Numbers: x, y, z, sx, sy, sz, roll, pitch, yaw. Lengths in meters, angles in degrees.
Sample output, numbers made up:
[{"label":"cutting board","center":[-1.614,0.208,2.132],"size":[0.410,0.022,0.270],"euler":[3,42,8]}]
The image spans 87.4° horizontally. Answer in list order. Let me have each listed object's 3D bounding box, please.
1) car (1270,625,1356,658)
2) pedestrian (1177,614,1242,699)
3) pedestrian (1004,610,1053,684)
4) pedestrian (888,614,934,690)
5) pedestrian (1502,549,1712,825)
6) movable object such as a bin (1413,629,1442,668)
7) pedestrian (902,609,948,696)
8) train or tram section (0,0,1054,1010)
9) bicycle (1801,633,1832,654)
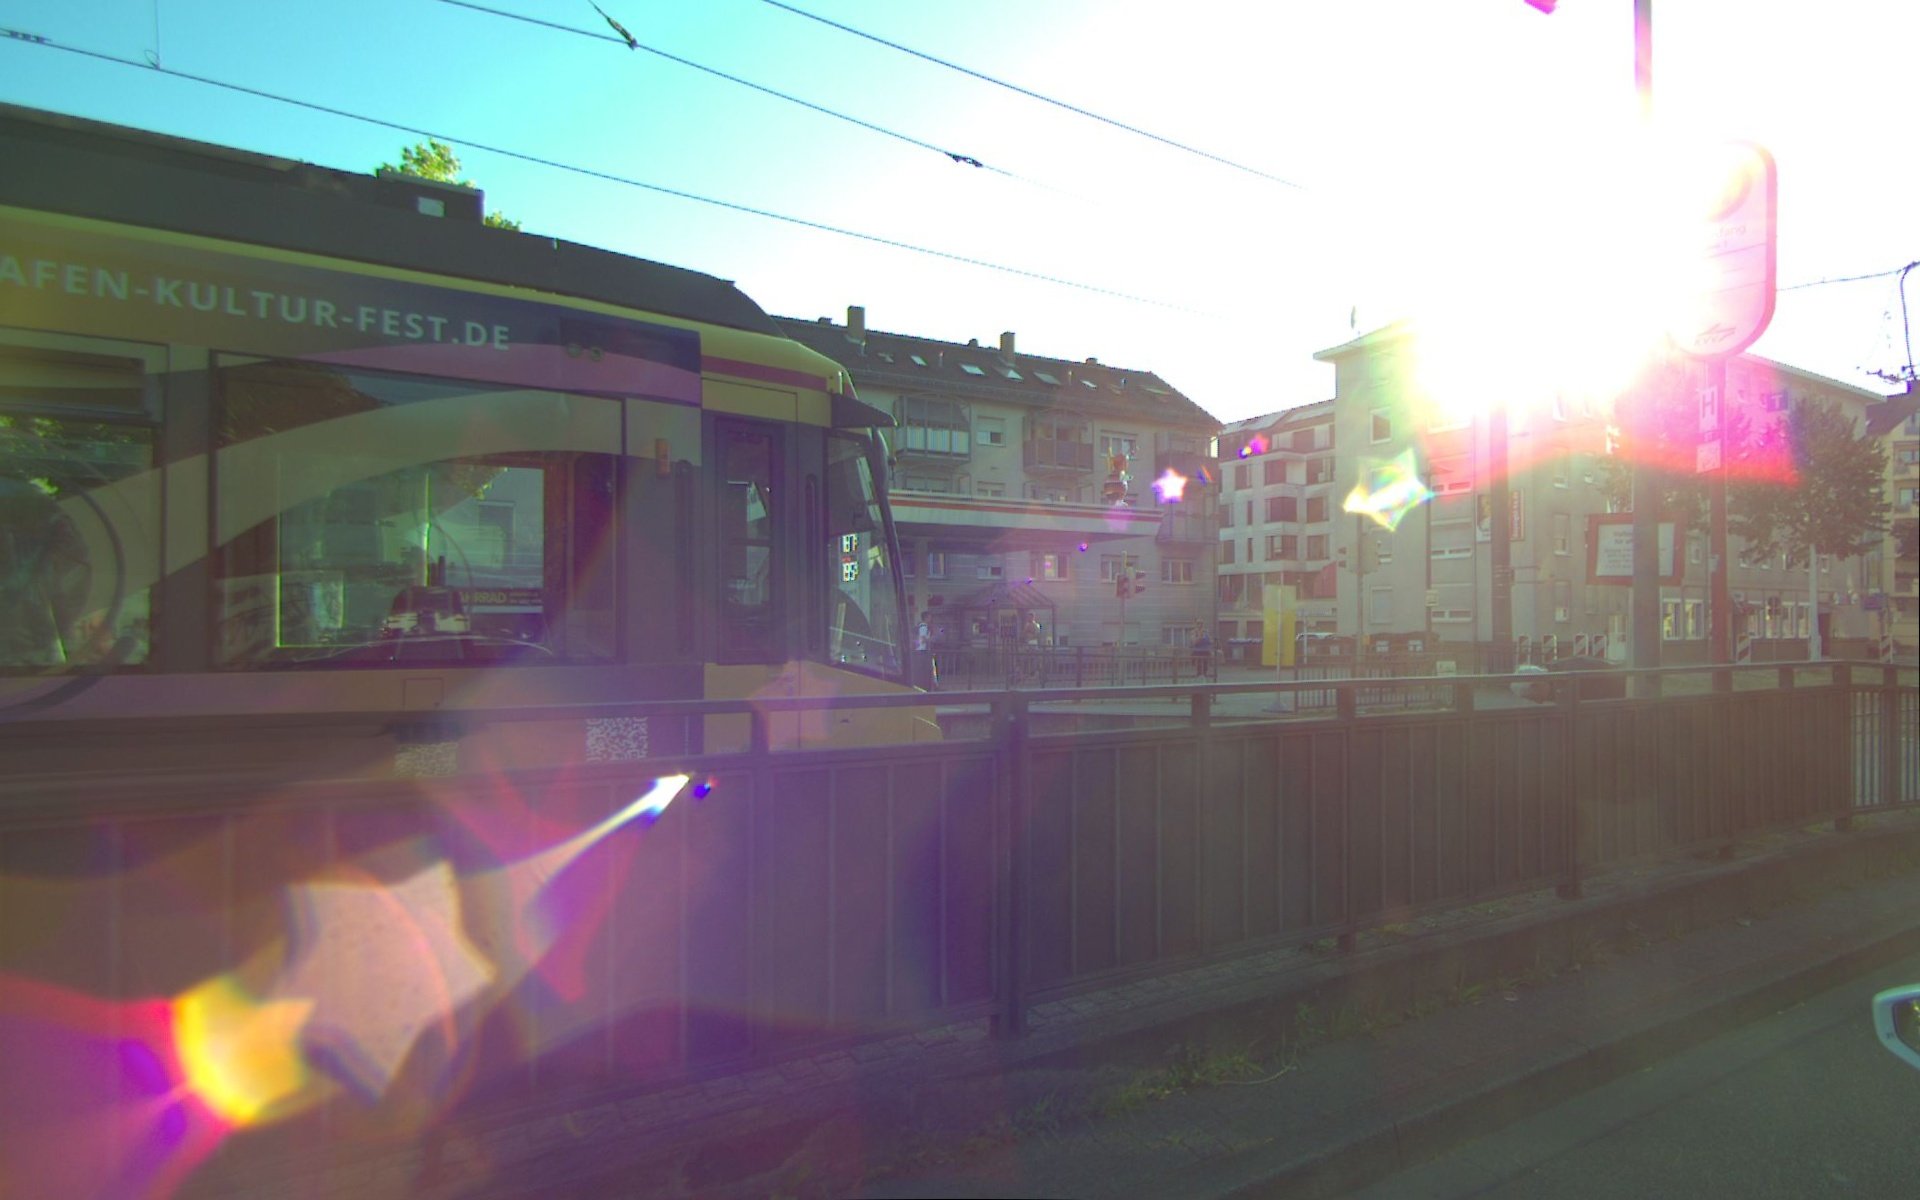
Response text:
[{"label":"car","center":[16.830,1.989,48.070],"size":[1.792,1.532,3.809],"euler":[1,-3,-23]},{"label":"pedestrian","center":[5.122,1.145,20.666],"size":[0.923,1.676,0.922],"euler":[1,1,-19]},{"label":"pedestrian","center":[1.813,1.222,26.620],"size":[0.989,1.907,0.749],"euler":[1,1,-32]},{"label":"pedestrian","center":[-1.167,1.236,23.948],"size":[0.851,1.770,0.748],"euler":[1,-2,-34]},{"label":"pedestrian","center":[4.063,0.502,6.324],"size":[0.782,1.571,0.908],"euler":[1,0,-38]},{"label":"movable object such as a bin","center":[17.534,1.813,37.665],"size":[0.740,1.419,0.660],"euler":[1,-2,-32]},{"label":"pedestrian","center":[-0.806,1.201,23.170],"size":[0.747,1.957,0.853],"euler":[1,-2,-33]},{"label":"train or tram section","center":[-4.461,-0.339,4.500],"size":[9.985,3.563,3.020],"euler":[2,-3,-32]},{"label":"bicycle","center":[45.650,2.319,53.529],"size":[1.757,1.129,0.743],"euler":[1,-2,-31]}]
